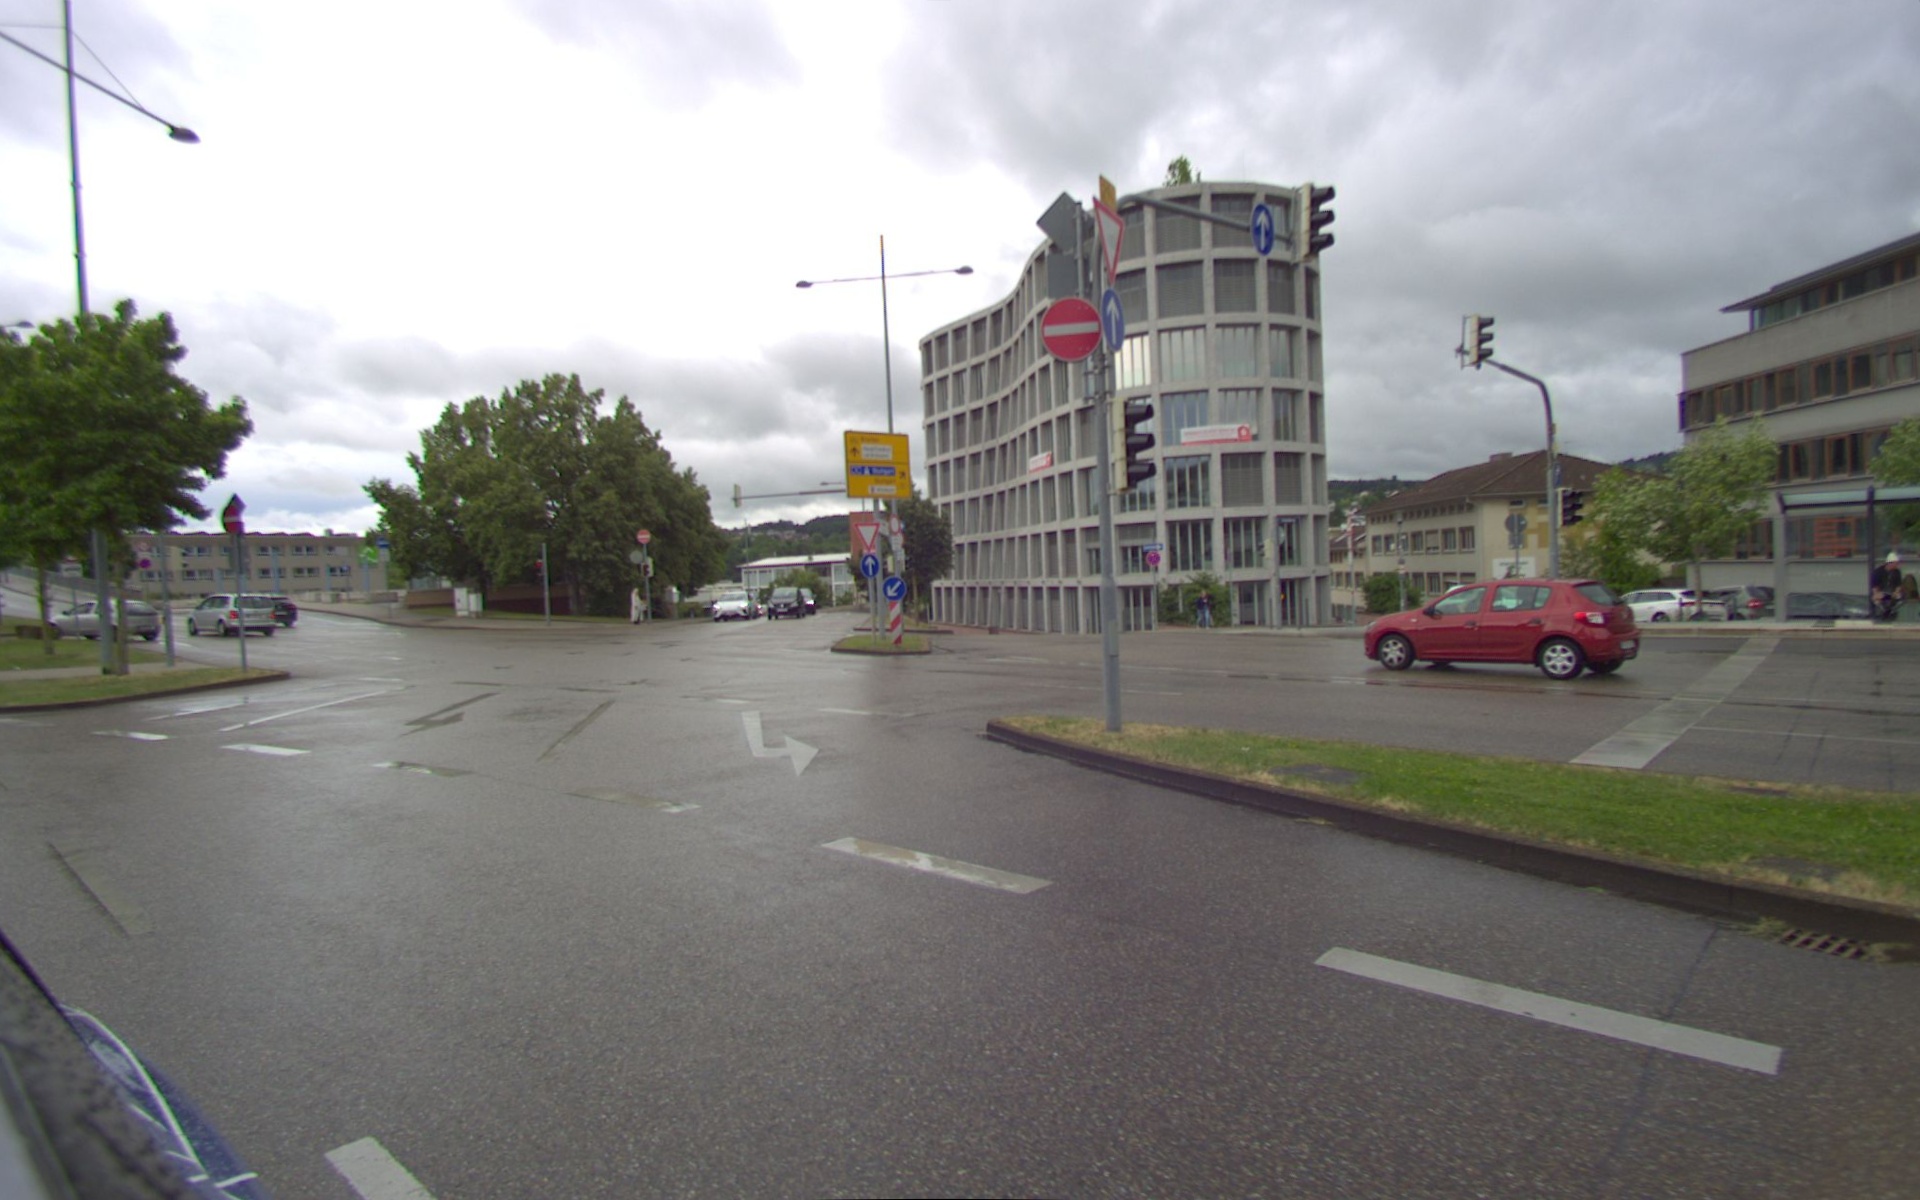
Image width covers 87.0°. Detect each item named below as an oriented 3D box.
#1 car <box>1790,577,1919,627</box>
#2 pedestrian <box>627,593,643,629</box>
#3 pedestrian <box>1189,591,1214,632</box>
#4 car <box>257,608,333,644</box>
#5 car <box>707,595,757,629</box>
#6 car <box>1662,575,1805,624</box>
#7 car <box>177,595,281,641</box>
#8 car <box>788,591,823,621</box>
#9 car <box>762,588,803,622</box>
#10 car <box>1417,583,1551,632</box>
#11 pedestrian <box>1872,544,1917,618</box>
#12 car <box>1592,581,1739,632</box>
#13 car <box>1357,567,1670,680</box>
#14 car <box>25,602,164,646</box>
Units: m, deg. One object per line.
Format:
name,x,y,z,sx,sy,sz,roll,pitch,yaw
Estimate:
car,29.083,0.053,32.342,1.605,1.507,3.593,-2,1,-30
pedestrian,-14.789,0.500,46.045,0.642,1.582,0.633,0,1,-23
pedestrian,9.495,0.453,39.779,0.704,1.595,0.664,0,2,40
car,-30.844,1.157,46.897,4.920,1.515,1.827,-1,1,43
car,-11.668,0.587,51.993,1.859,1.579,4.145,-2,1,-4
car,25.547,-0.034,33.565,1.607,1.507,3.589,-2,0,-9
car,-28.445,0.697,39.344,4.407,1.665,1.832,-1,1,34
car,-8.685,0.329,57.095,1.702,1.579,3.843,-2,1,-6
car,-8.841,0.240,50.549,1.702,1.579,3.843,-2,1,-6
car,17.243,0.247,33.427,1.605,1.507,3.592,-2,1,-33
pedestrian,19.267,-0.391,20.875,0.625,1.480,0.671,-1,1,40
car,22.966,0.197,33.104,1.737,1.507,3.796,-2,0,-9
car,8.777,0.335,16.353,1.799,1.563,4.041,-2,0,-38
car,-30.394,0.830,35.582,3.831,1.459,1.633,0,0,9
